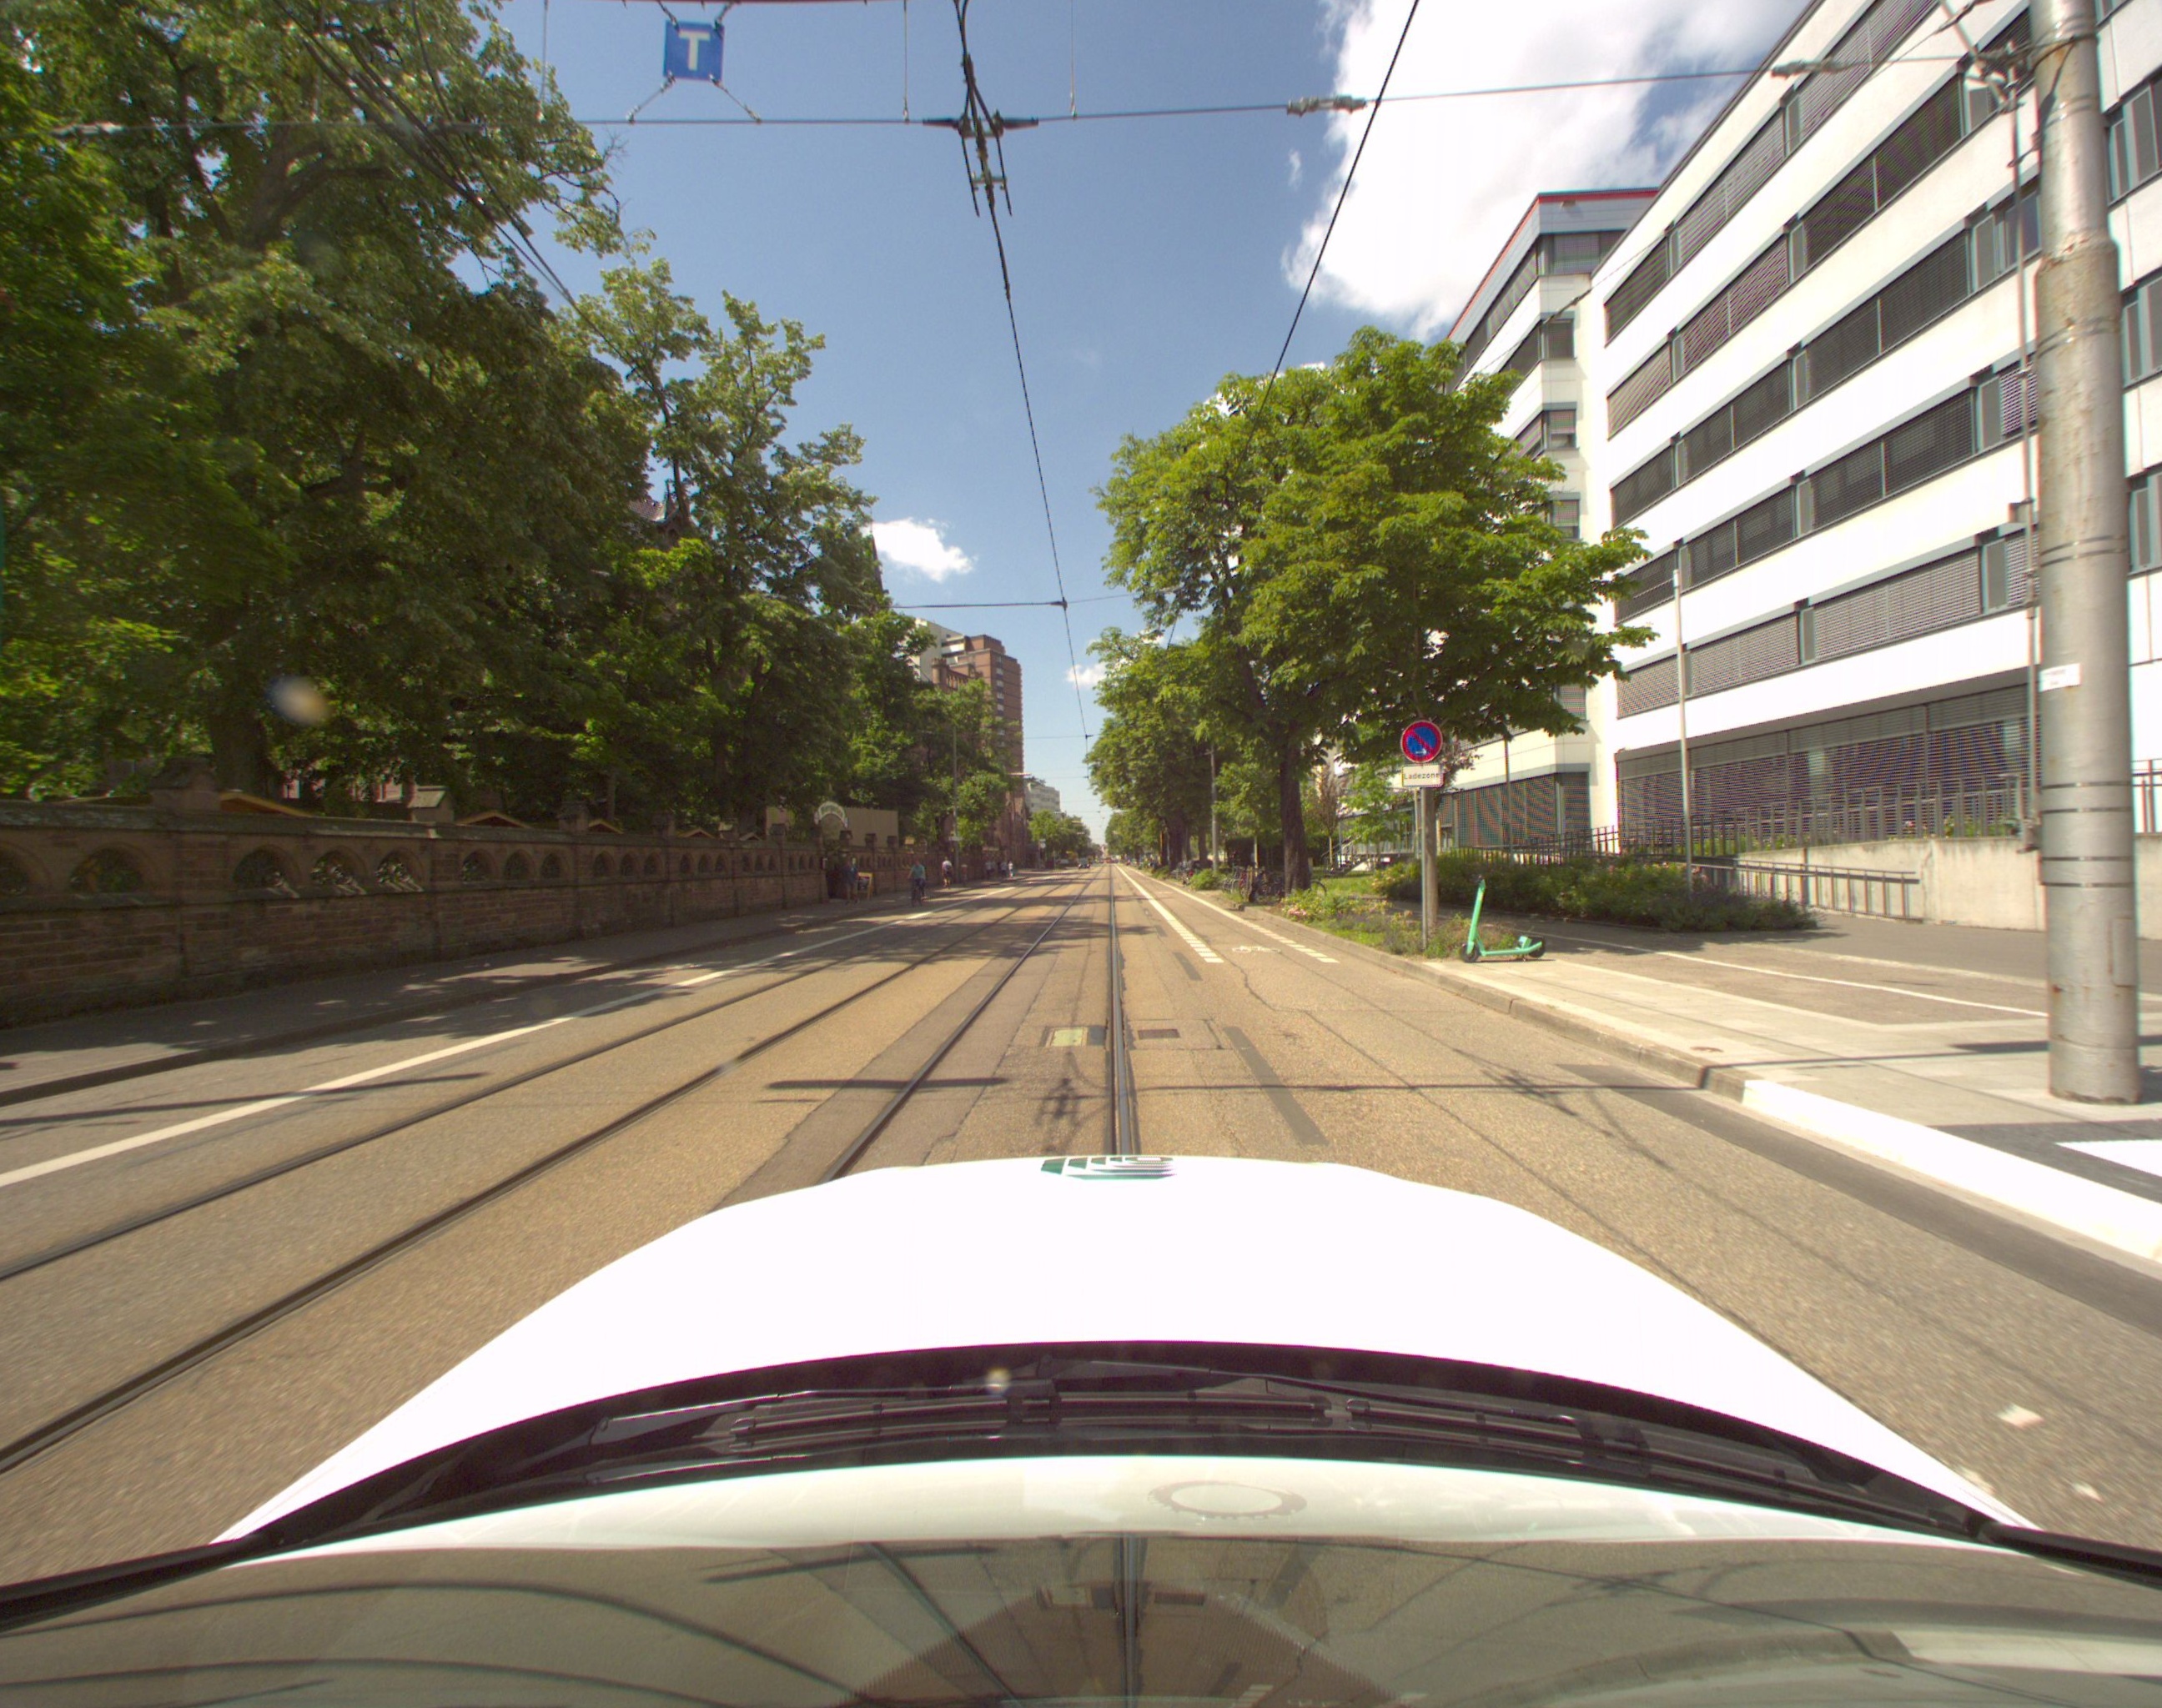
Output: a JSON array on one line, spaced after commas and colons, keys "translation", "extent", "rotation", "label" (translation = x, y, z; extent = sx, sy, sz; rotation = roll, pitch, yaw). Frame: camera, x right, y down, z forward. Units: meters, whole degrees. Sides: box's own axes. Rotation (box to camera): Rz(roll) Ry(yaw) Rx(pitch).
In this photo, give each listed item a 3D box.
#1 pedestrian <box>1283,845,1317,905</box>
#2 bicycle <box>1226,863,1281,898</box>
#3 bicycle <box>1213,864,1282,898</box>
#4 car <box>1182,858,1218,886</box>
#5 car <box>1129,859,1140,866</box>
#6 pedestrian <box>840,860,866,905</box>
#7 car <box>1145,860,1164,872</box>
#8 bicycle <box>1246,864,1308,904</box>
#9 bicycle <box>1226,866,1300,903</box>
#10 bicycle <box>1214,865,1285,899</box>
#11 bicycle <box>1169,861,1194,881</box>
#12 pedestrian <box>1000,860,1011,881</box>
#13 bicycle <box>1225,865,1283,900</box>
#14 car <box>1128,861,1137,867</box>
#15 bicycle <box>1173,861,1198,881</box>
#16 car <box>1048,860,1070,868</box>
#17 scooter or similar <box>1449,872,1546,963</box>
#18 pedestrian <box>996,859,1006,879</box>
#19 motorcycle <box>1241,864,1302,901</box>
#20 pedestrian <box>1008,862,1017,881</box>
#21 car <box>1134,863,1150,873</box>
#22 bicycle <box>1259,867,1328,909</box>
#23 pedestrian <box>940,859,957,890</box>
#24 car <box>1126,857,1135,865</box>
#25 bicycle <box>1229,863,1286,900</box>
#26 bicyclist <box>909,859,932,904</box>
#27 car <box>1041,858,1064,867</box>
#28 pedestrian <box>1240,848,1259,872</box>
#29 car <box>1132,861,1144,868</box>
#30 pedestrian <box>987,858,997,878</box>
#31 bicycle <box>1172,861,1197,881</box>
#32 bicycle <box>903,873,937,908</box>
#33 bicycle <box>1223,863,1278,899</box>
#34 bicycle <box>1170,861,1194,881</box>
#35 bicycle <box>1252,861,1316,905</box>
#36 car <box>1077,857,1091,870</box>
[{"translation": [6.384, 0.601, 23.736], "extent": [0.577, 1.715, 0.802], "rotation": [-2, -1, 45], "label": "pedestrian"}, {"translation": [5.968, 0.908, 28.224], "extent": [1.747, 1.166, 0.530], "rotation": [-1, -1, -1], "label": "bicycle"}, {"translation": [6.329, 1.021, 31.082], "extent": [2.498, 1.209, 0.743], "rotation": [-2, -1, 6], "label": "bicycle"}, {"translation": [6.810, 1.003, 46.940], "extent": [1.628, 1.501, 4.002], "rotation": [-2, -1, 2], "label": "car"}, {"translation": [10.665, 1.726, 161.255], "extent": [1.986, 1.310, 4.002], "rotation": [-2, -1, 2], "label": "car"}, {"translation": [-8.900, 1.090, 31.782], "extent": [0.740, 1.728, 0.868], "rotation": [-1, -1, 1], "label": "pedestrian"}, {"translation": [8.628, 1.403, 96.217], "extent": [1.986, 1.310, 4.002], "rotation": [-2, -1, 2], "label": "car"}, {"translation": [5.933, 0.896, 24.675], "extent": [1.747, 1.166, 0.530], "rotation": [-1, -1, -1], "label": "bicycle"}, {"translation": [6.447, 1.085, 28.921], "extent": [2.498, 1.209, 0.649], "rotation": [-2, -1, 6], "label": "bicycle"}, {"translation": [6.242, 1.041, 30.310], "extent": [2.498, 1.209, 0.623], "rotation": [-2, -1, 6], "label": "bicycle"}, {"translation": [6.708, 1.128, 54.463], "extent": [1.557, 1.241, 0.437], "rotation": [-2, -1, 3], "label": "bicycle"}, {"translation": [-6.442, 1.423, 69.552], "extent": [0.740, 1.728, 0.868], "rotation": [-1, -1, 1], "label": "pedestrian"}, {"translation": [6.272, 1.038, 29.625], "extent": [1.987, 1.209, 0.663], "rotation": [-2, -1, 6], "label": "bicycle"}, {"translation": [12.111, 2.320, 192.097], "extent": [1.986, 1.310, 4.002], "rotation": [-2, -1, 2], "label": "car"}, {"translation": [6.800, 1.126, 52.844], "extent": [1.557, 1.241, 0.437], "rotation": [-2, -1, 3], "label": "bicycle"}, {"translation": [-5.050, 2.284, 186.929], "extent": [4.753, 1.717, 1.983], "rotation": [-1, -1, -26], "label": "car"}, {"translation": [5.596, 0.846, 10.972], "extent": [1.054, 1.156, 0.371], "rotation": [-3, -1, 2], "label": "scooter or similar"}, {"translation": [-6.991, 1.317, 71.000], "extent": [0.740, 1.728, 0.868], "rotation": [-1, -1, 1], "label": "pedestrian"}, {"translation": [6.132, 0.909, 26.263], "extent": [1.817, 1.110, 0.598], "rotation": [-2, -1, 2], "label": "motorcycle"}, {"translation": [-6.376, 1.636, 75.904], "extent": [0.740, 1.728, 0.867], "rotation": [-1, -1, 1], "label": "pedestrian"}, {"translation": [8.780, 1.976, 117.584], "extent": [1.986, 1.310, 4.002], "rotation": [-2, -1, 2], "label": "car"}, {"translation": [5.990, 0.947, 22.970], "extent": [1.782, 1.102, 0.531], "rotation": [-2, -1, -1], "label": "bicycle"}, {"translation": [-7.656, 1.175, 47.060], "extent": [0.811, 1.770, 0.925], "rotation": [-1, -1, 1], "label": "pedestrian"}, {"translation": [12.179, 1.847, 201.638], "extent": [1.986, 1.904, 4.002], "rotation": [-2, -1, 2], "label": "car"}, {"translation": [5.845, 0.904, 27.040], "extent": [1.747, 1.166, 0.530], "rotation": [-1, -1, -1], "label": "bicycle"}, {"translation": [-6.148, 1.039, 31.184], "extent": [0.639, 1.679, 0.815], "rotation": [-2, -1, 2], "label": "bicyclist"}, {"translation": [-5.390, 1.606, 153.538], "extent": [4.012, 1.804, 1.981], "rotation": [1, 0, -31], "label": "car"}, {"translation": [12.922, 0.479, 62.495], "extent": [1.212, 1.827, 0.831], "rotation": [-2, -1, -2], "label": "pedestrian"}, {"translation": [10.346, 1.897, 148.300], "extent": [1.986, 1.310, 4.002], "rotation": [-2, -1, 2], "label": "car"}, {"translation": [-7.758, 1.256, 71.064], "extent": [0.740, 1.728, 0.868], "rotation": [-1, -1, 1], "label": "pedestrian"}, {"translation": [6.788, 1.122, 53.348], "extent": [1.557, 1.241, 0.437], "rotation": [-2, -1, 3], "label": "bicycle"}, {"translation": [-6.126, 1.369, 31.129], "extent": [0.698, 1.204, 2.241], "rotation": [-4, -1, 2], "label": "bicycle"}, {"translation": [5.770, 0.905, 27.727], "extent": [1.747, 1.166, 0.530], "rotation": [-1, -1, -1], "label": "bicycle"}, {"translation": [6.693, 1.125, 53.934], "extent": [1.557, 1.241, 0.437], "rotation": [-2, -1, 3], "label": "bicycle"}, {"translation": [5.996, 0.848, 24.144], "extent": [1.747, 1.271, 0.530], "rotation": [-1, -1, -1], "label": "bicycle"}, {"translation": [0.525, 1.589, 135.820], "extent": [1.984, 2.014, 4.005], "rotation": [-1, -1, 4], "label": "car"}]
